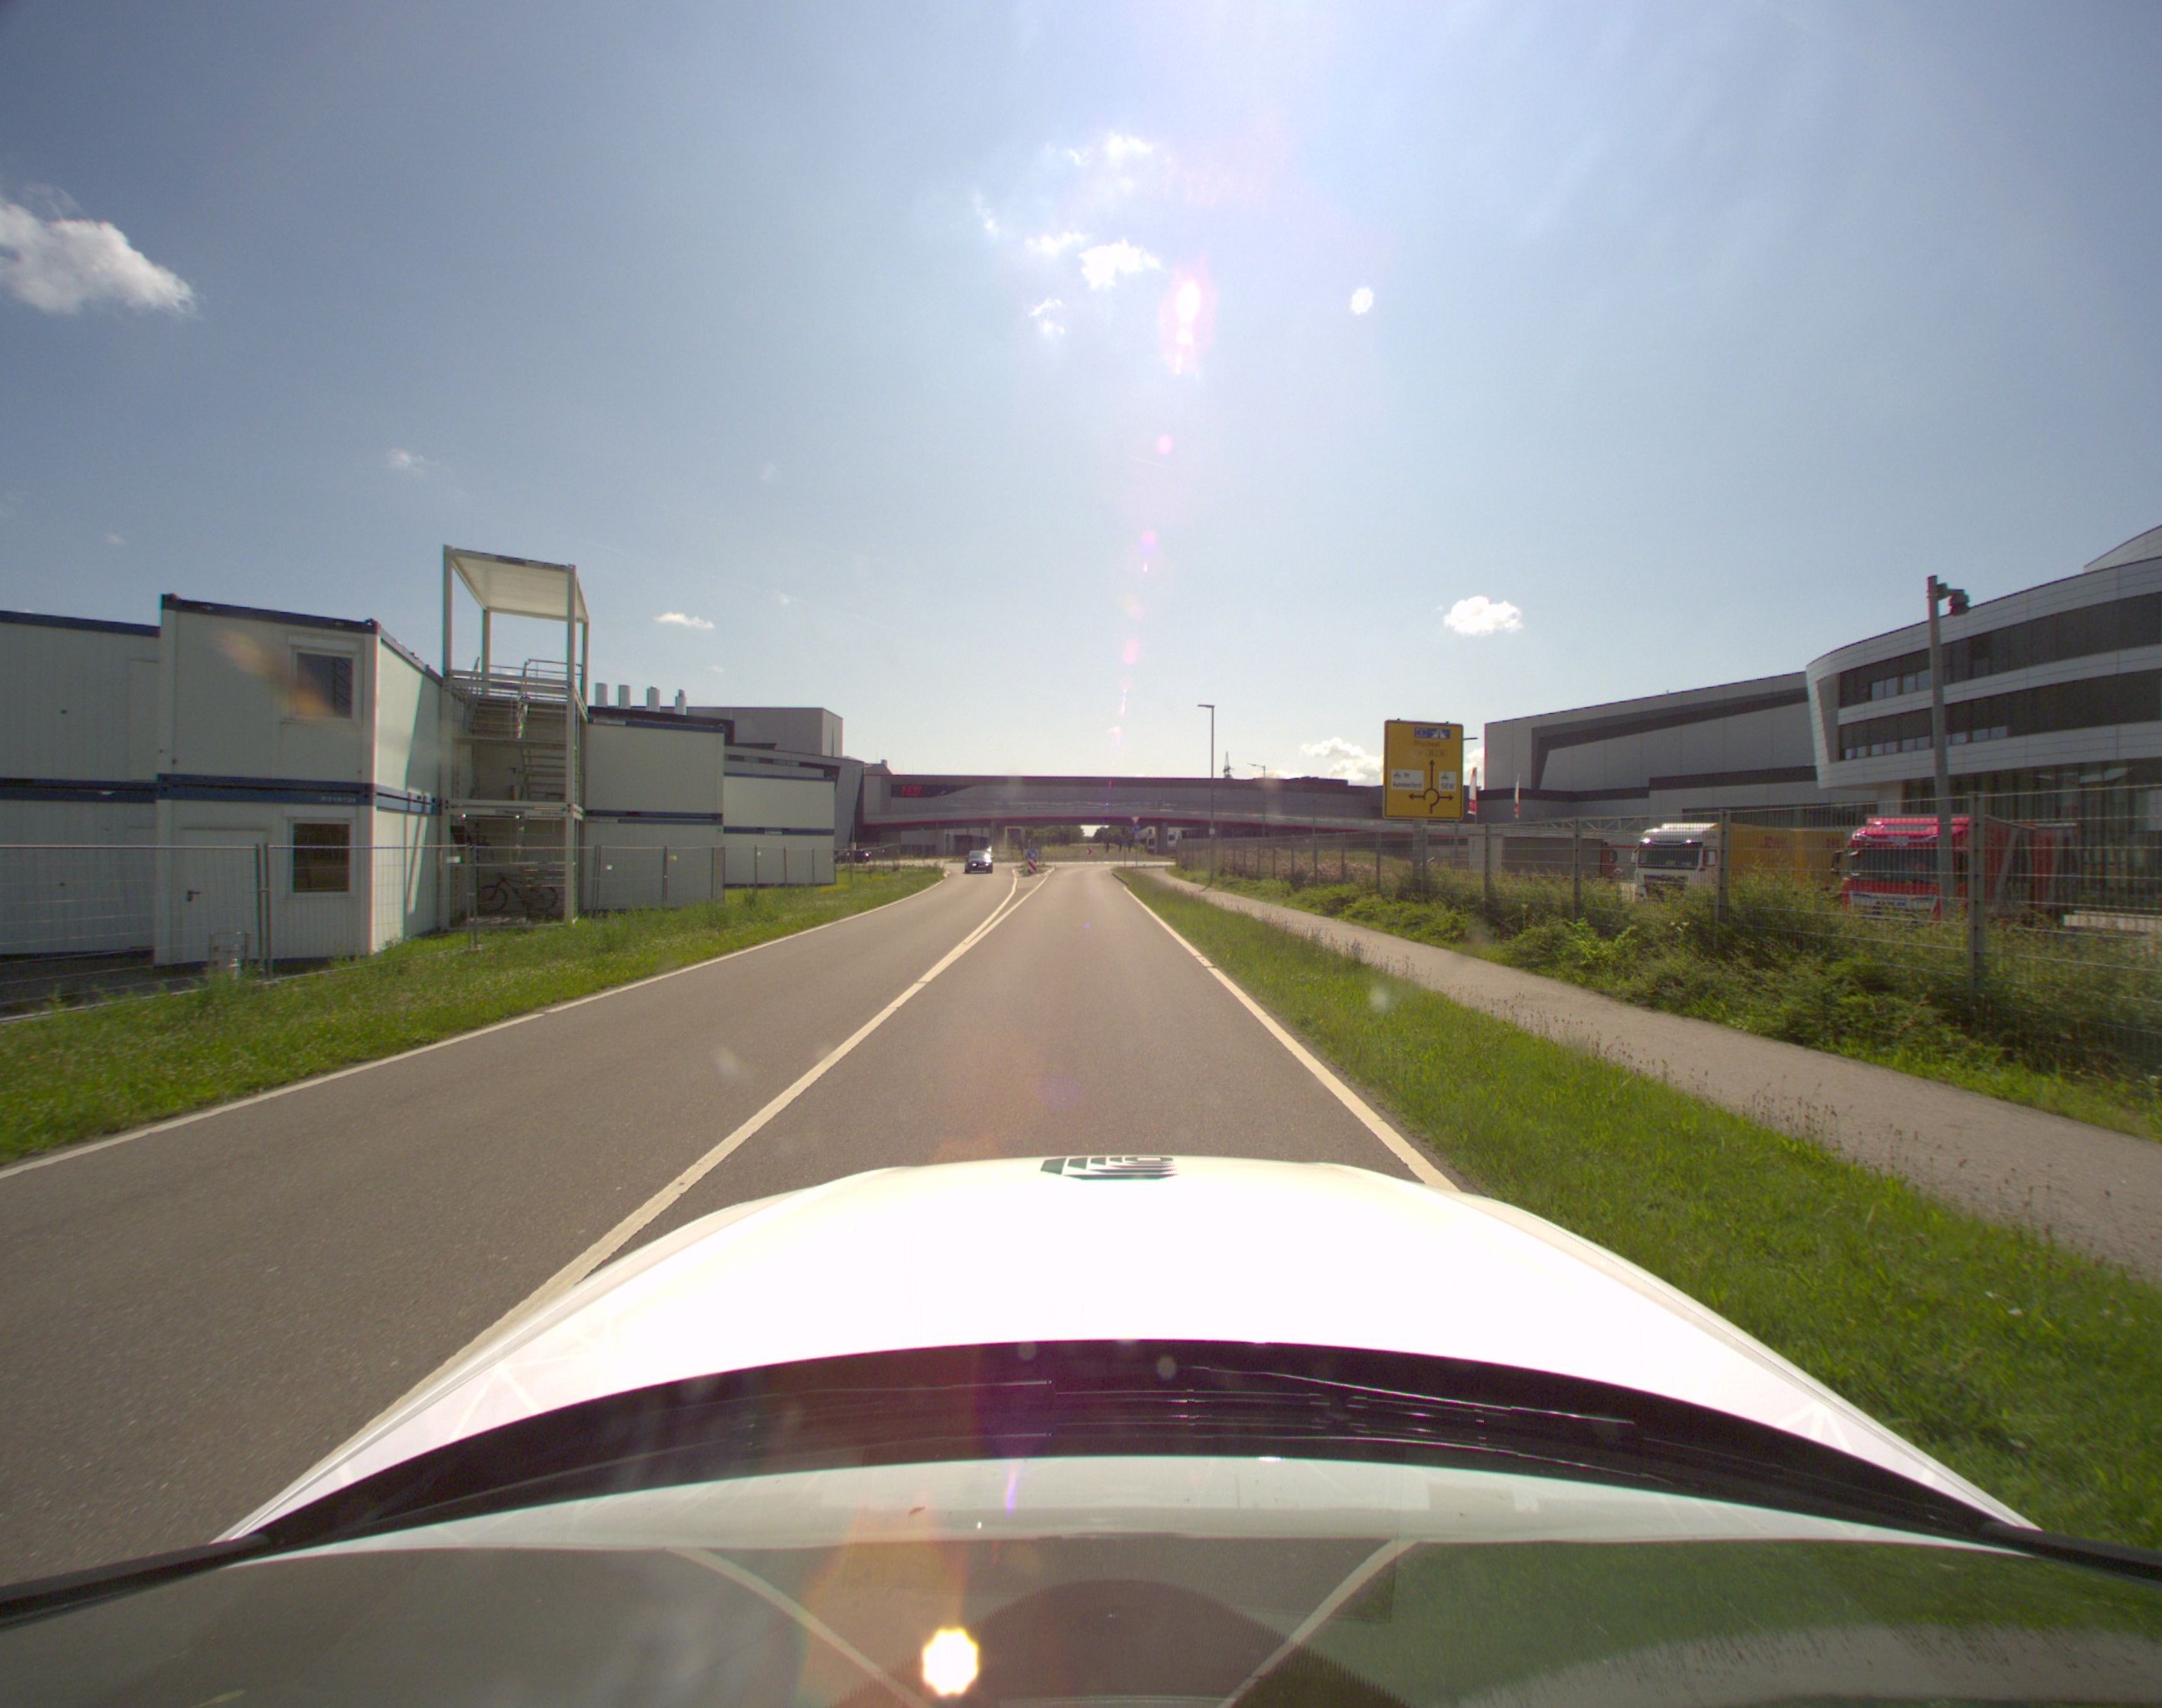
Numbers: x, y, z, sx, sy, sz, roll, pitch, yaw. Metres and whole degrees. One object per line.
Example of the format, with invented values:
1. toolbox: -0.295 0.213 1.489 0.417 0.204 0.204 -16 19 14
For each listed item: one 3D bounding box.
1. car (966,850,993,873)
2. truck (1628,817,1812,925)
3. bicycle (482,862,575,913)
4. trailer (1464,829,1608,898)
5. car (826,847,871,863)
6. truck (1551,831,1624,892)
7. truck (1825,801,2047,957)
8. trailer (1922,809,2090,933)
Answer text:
1. car: -6.873 0.472 54.935 1.702 1.482 3.988 -1 0 -9
2. truck: 28.128 0.634 35.605 11.013 4.172 2.794 -1 0 -33
3. bicycle: -15.020 0.893 22.216 2.053 1.301 0.603 -1 -1 -30
4. trailer: 32.581 0.570 57.891 14.117 4.438 2.737 -1 0 -34
5. car: -23.188 0.086 81.348 1.974 1.584 4.025 -1 0 30
6. truck: 38.469 0.508 61.810 5.311 4.423 2.737 0 -1 -34
7. truck: 28.001 0.641 26.446 11.015 4.256 2.997 -1 0 -33
8. trailer: 36.254 0.578 31.819 8.747 4.296 2.998 -1 0 -33
